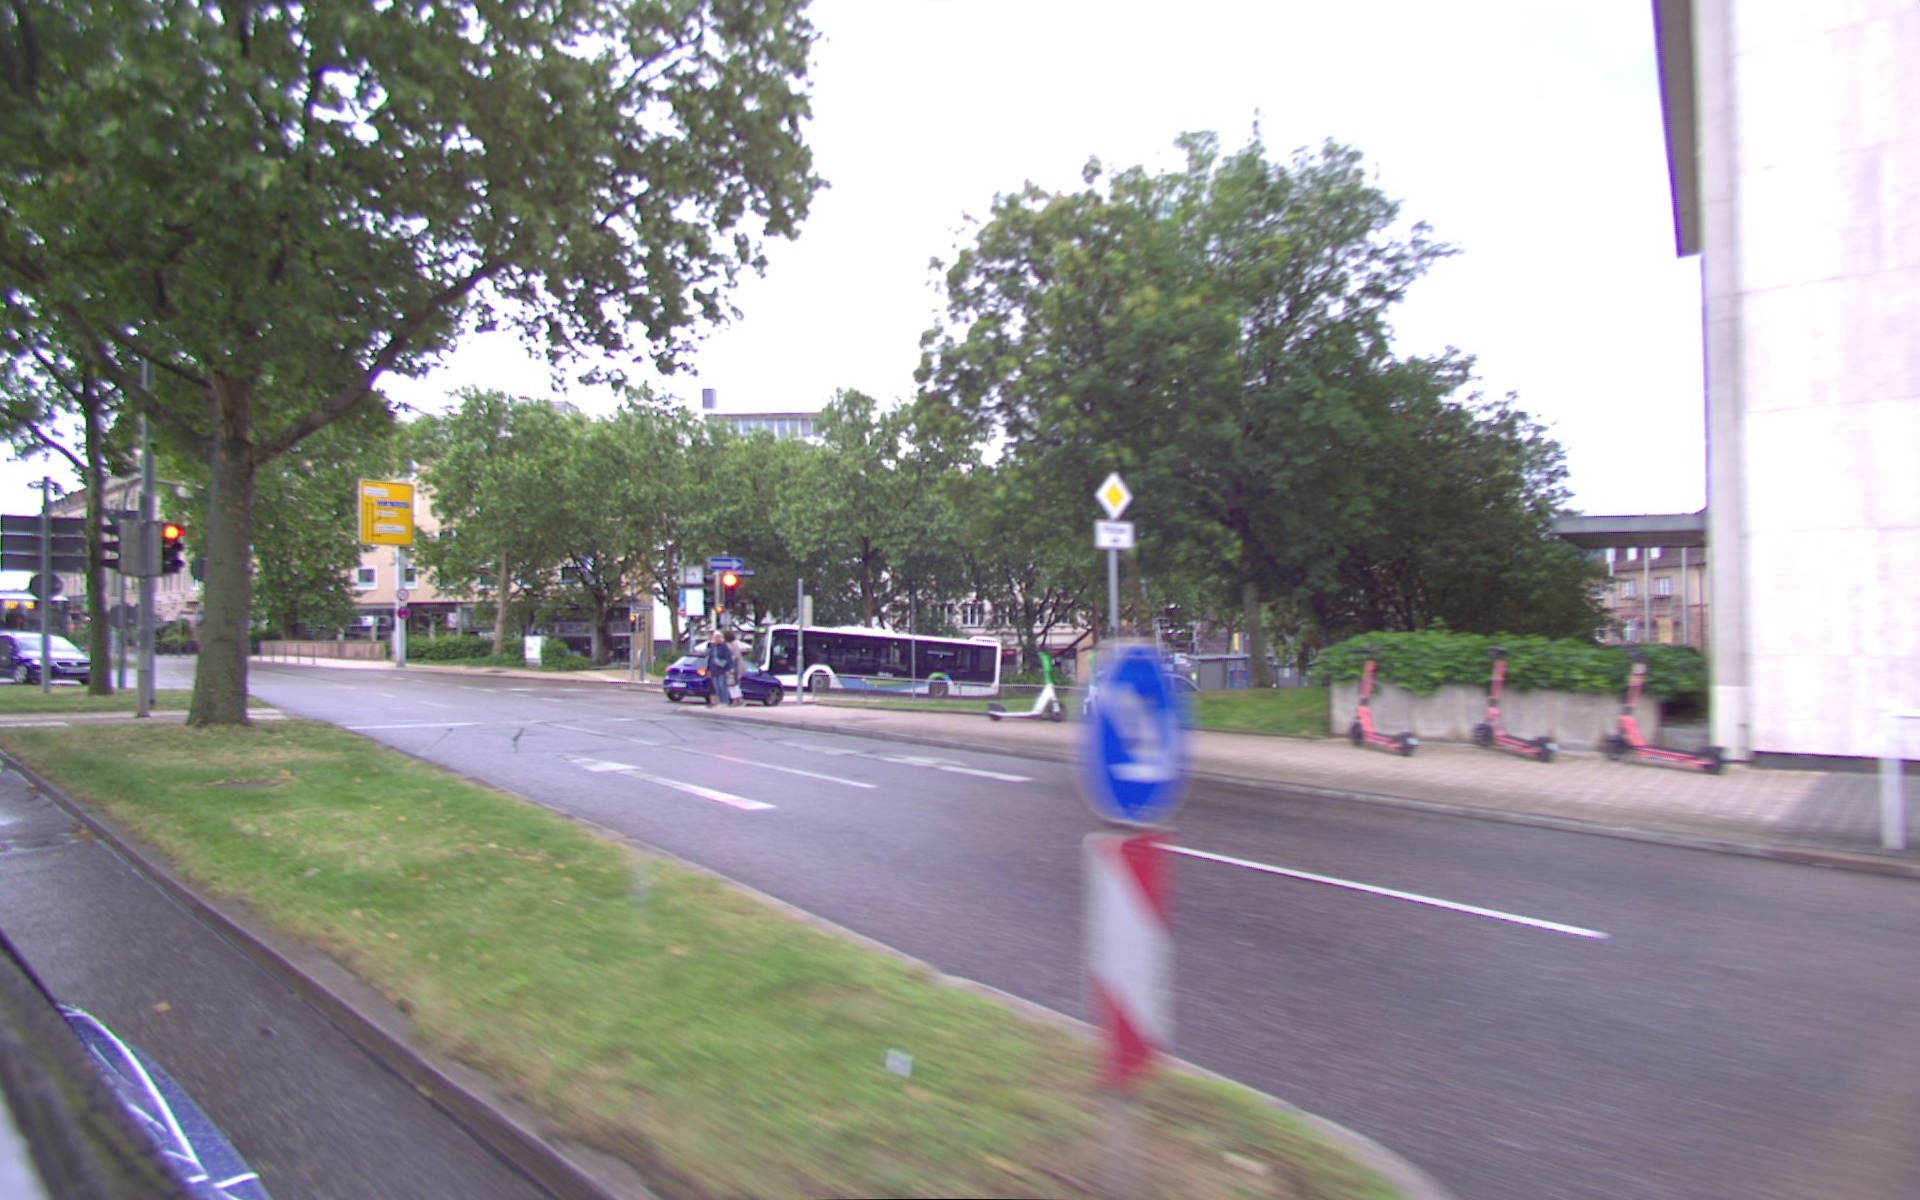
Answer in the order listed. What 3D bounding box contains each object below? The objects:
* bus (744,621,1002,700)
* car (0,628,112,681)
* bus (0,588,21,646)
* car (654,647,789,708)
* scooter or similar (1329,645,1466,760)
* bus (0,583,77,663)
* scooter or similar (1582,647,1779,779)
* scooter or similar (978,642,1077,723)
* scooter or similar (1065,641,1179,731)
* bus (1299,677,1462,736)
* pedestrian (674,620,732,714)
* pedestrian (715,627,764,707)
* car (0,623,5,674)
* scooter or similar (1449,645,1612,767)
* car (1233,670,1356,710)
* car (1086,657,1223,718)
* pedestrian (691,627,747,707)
[{"bbox_3d":[-3.900,2.923,47.619,11.767,3.042,2.898,5,-4,-28],"label":"bus"},{"bbox_3d":[-26.799,1.531,29.245,4.389,1.420,1.806,0,-3,25],"label":"car"},{"bbox_3d":[-55.497,0.961,56.964,8.835,3.156,2.725,-1,-1,40],"label":"bus"},{"bbox_3d":[-6.883,2.196,29.604,1.835,1.519,4.071,0,-1,23],"label":"car"},{"bbox_3d":[4.980,1.133,11.632,0.599,1.201,1.532,1,-2,-16],"label":"scooter or similar"},{"bbox_3d":[-45.505,1.164,48.439,12.548,3.466,2.925,-2,-3,40],"label":"bus"},{"bbox_3d":[7.043,1.066,9.986,0.599,1.173,1.532,1,-2,-16],"label":"scooter or similar"},{"bbox_3d":[1.020,1.240,15.533,1.500,1.176,0.484,-1,-3,37],"label":"scooter or similar"},{"bbox_3d":[2.296,1.192,14.443,1.575,1.201,0.563,-2,-3,45],"label":"scooter or similar"},{"bbox_3d":[26.468,6.527,63.383,11.768,3.219,2.898,2,-3,-30],"label":"bus"},{"bbox_3d":[-5.798,1.494,22.834,0.923,2.061,0.874,4,-3,-42],"label":"pedestrian"},{"bbox_3d":[-4.832,1.449,22.155,0.795,1.723,0.648,-1,-3,33],"label":"pedestrian"},{"bbox_3d":[-33.399,1.571,33.566,4.354,1.652,1.944,-1,-3,40],"label":"car"},{"bbox_3d":[6.099,1.095,10.917,0.599,1.201,1.532,1,-2,-16],"label":"scooter or similar"},{"bbox_3d":[12.978,3.469,39.218,4.509,1.430,2.006,3,-3,-28],"label":"car"},{"bbox_3d":[6.912,3.082,35.859,4.509,1.980,2.006,3,-3,-28],"label":"car"},{"bbox_3d":[-4.966,1.363,20.853,0.921,1.615,0.648,-1,-3,30],"label":"pedestrian"}]
